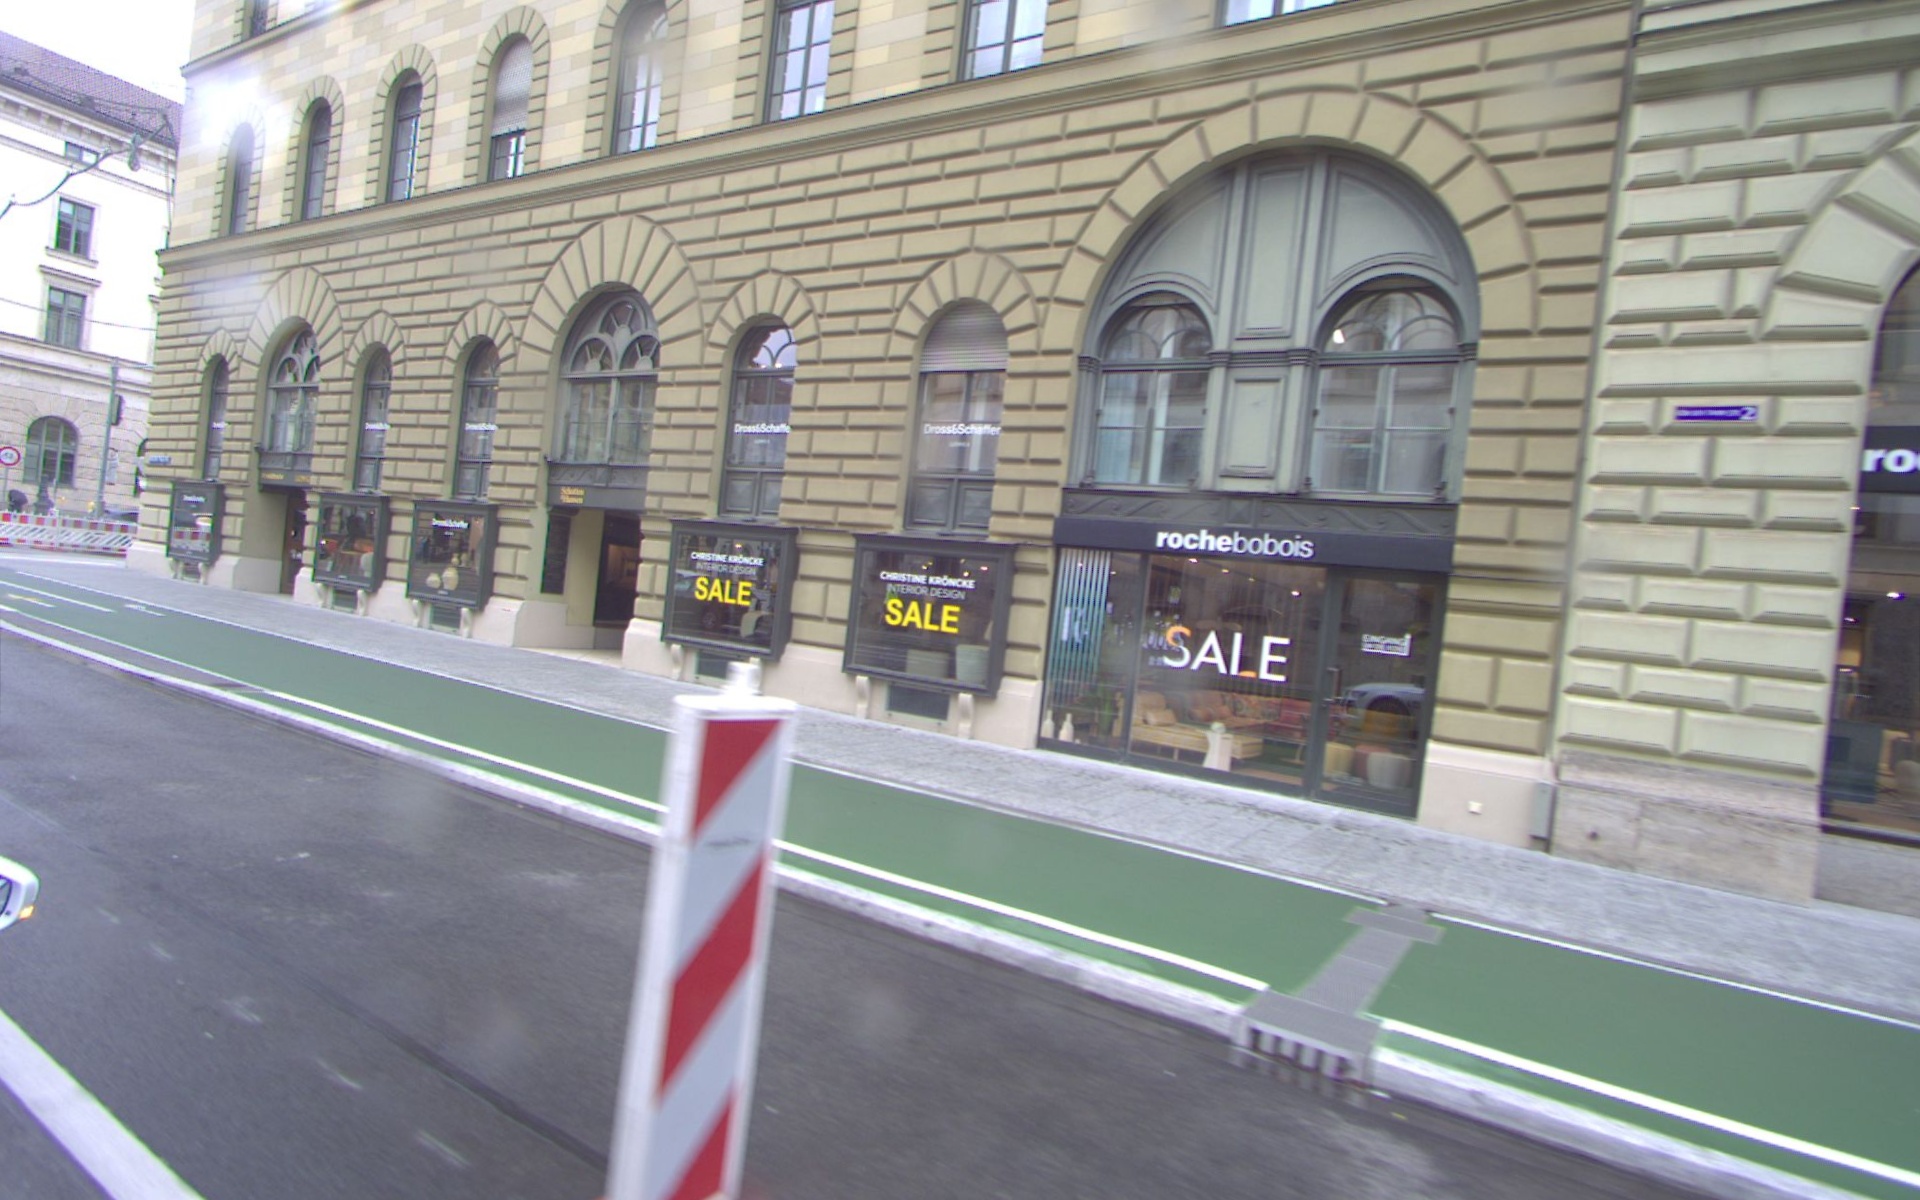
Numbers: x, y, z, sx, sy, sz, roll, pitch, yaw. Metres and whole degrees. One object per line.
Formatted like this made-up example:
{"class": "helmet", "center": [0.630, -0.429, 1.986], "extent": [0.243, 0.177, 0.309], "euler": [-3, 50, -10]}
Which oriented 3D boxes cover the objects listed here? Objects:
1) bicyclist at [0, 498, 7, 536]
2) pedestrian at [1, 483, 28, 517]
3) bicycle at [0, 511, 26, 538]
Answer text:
{"class": "bicyclist", "center": [-43.085, -3.753, 44.746], "extent": [0.782, 1.634, 0.744], "euler": [7, 0, 35]}
{"class": "pedestrian", "center": [-46.662, -4.927, 49.652], "extent": [0.806, 1.545, 0.666], "euler": [7, 0, 32]}
{"class": "bicycle", "center": [-43.088, -3.459, 44.802], "extent": [0.782, 1.053, 1.960], "euler": [7, -1, 34]}
